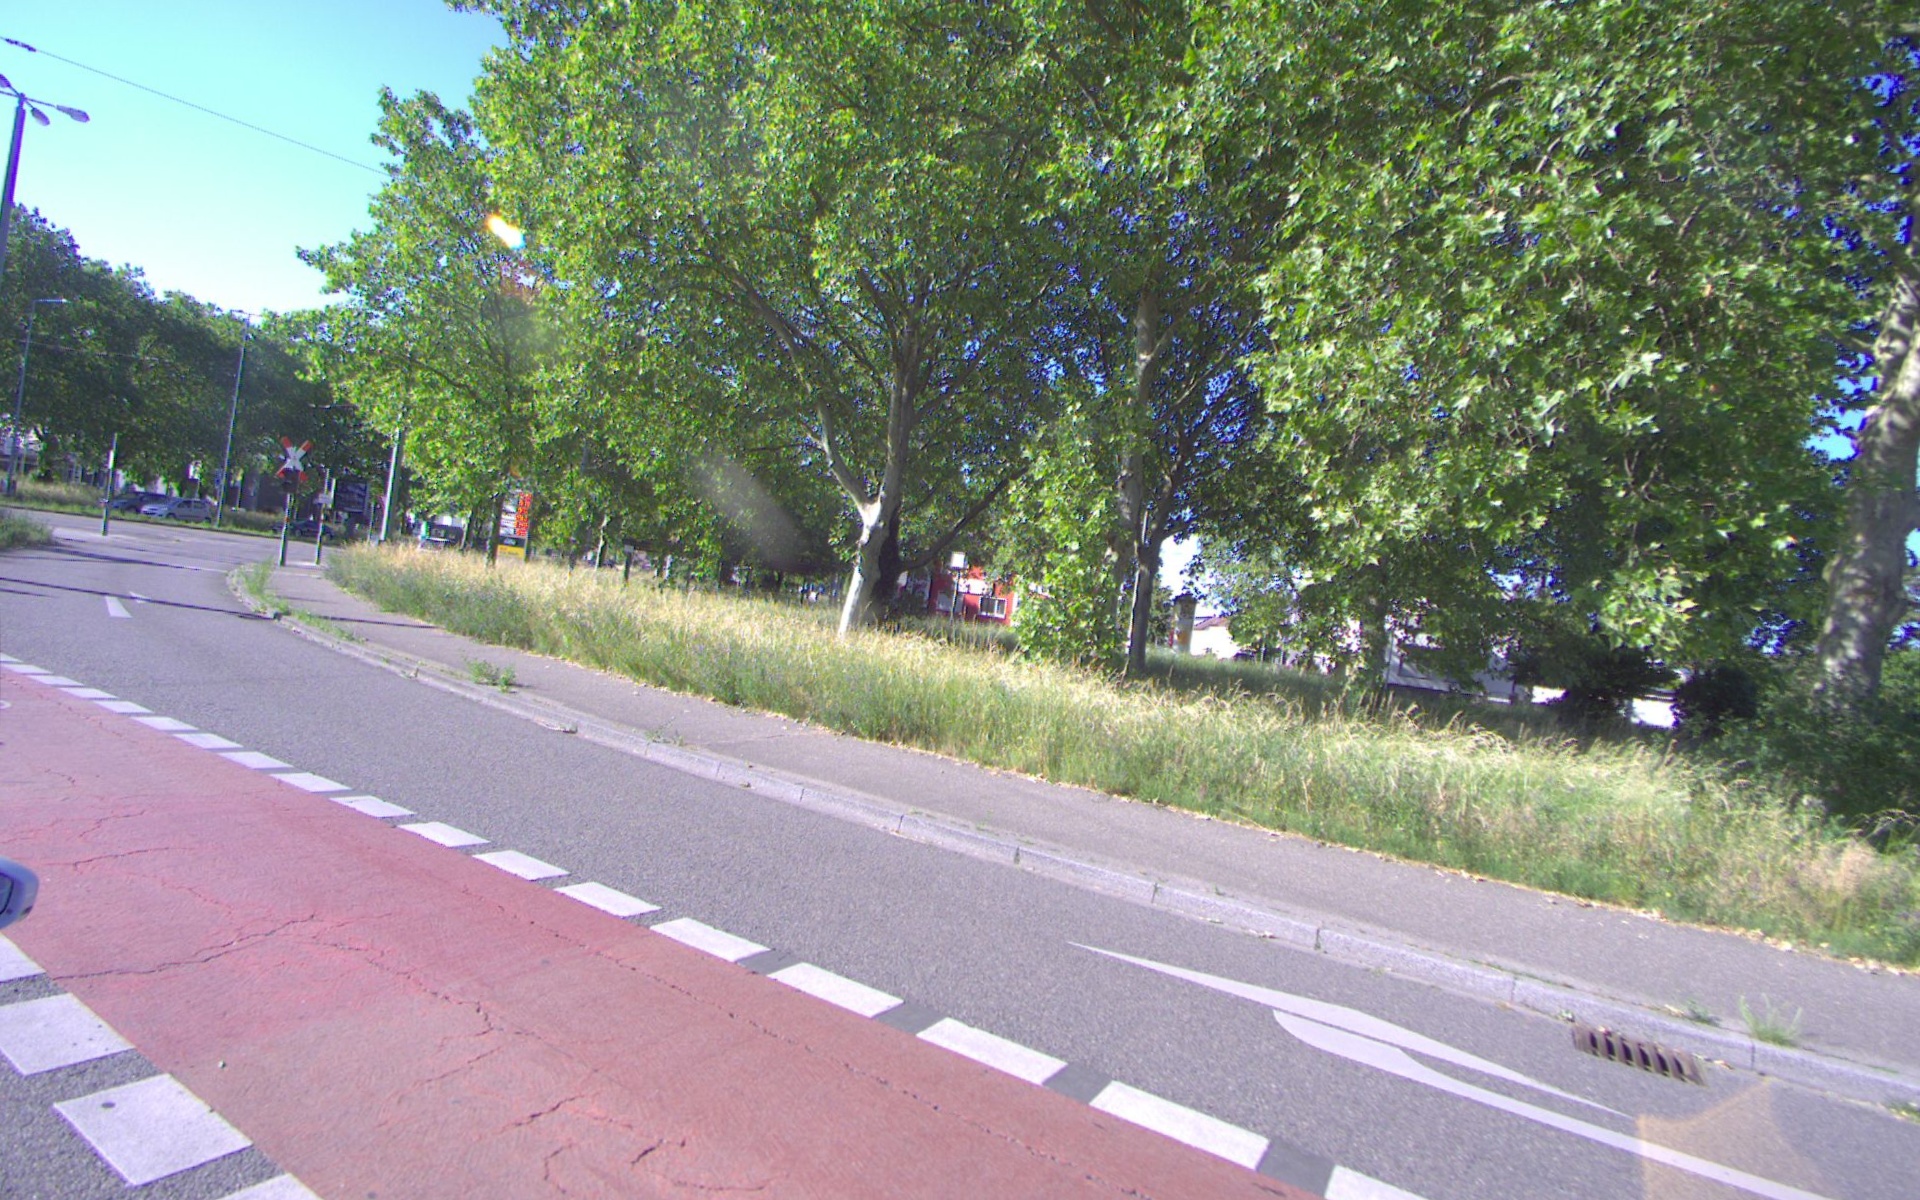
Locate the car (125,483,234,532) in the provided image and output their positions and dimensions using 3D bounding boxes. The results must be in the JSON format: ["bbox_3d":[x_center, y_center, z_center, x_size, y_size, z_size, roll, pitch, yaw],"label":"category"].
[{"bbox_3d":[-45.797,-5.406,59.191,1.962,2.038,4.907,8,-1,9],"label":"car"}]

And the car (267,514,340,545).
[{"bbox_3d":[-47.402,-5.089,72.727,1.661,1.593,4.528,8,-1,10],"label":"car"}]

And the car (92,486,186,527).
[{"bbox_3d":[-49.261,-5.569,60.450,1.845,1.596,4.006,8,-2,11],"label":"car"}]
